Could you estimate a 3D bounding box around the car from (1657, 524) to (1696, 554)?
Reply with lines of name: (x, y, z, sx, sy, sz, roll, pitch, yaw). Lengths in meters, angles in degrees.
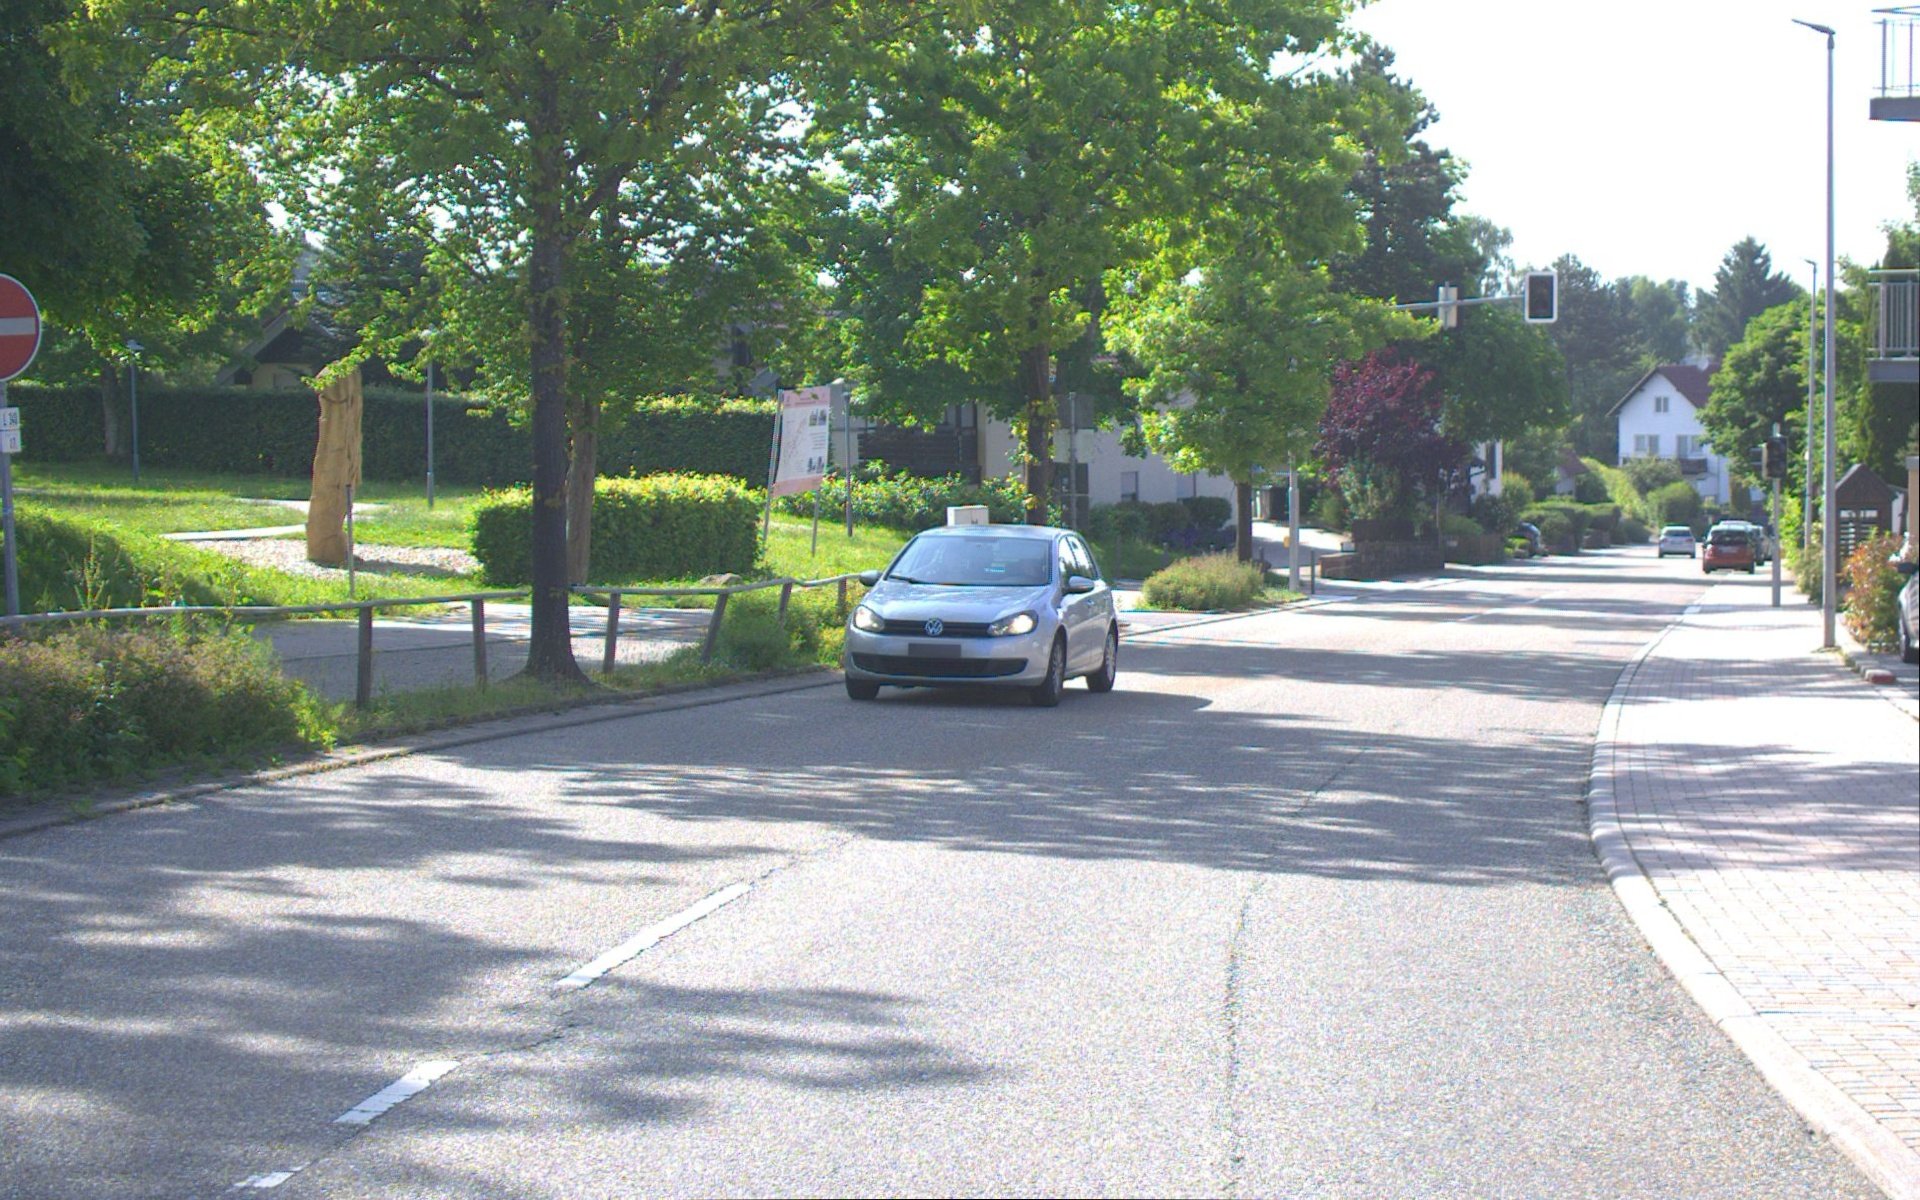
car: (35.432, -3.020, 169.907, 1.709, 1.422, 4.005, 0, 1, 15)

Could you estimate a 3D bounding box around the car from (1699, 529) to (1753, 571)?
car: (26.491, -1.743, 118.944, 1.709, 1.422, 4.005, 0, 1, 11)

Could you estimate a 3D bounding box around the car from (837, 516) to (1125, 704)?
car: (0.256, 0.026, 29.278, 1.730, 1.438, 4.063, 2, 2, 10)

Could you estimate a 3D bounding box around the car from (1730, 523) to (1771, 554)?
car: (36.818, -2.855, 160.220, 1.709, 1.422, 4.005, 0, 1, 11)

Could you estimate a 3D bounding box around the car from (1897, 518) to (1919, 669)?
car: (10.762, -0.080, 35.615, 1.709, 1.530, 4.005, 0, 1, 11)
